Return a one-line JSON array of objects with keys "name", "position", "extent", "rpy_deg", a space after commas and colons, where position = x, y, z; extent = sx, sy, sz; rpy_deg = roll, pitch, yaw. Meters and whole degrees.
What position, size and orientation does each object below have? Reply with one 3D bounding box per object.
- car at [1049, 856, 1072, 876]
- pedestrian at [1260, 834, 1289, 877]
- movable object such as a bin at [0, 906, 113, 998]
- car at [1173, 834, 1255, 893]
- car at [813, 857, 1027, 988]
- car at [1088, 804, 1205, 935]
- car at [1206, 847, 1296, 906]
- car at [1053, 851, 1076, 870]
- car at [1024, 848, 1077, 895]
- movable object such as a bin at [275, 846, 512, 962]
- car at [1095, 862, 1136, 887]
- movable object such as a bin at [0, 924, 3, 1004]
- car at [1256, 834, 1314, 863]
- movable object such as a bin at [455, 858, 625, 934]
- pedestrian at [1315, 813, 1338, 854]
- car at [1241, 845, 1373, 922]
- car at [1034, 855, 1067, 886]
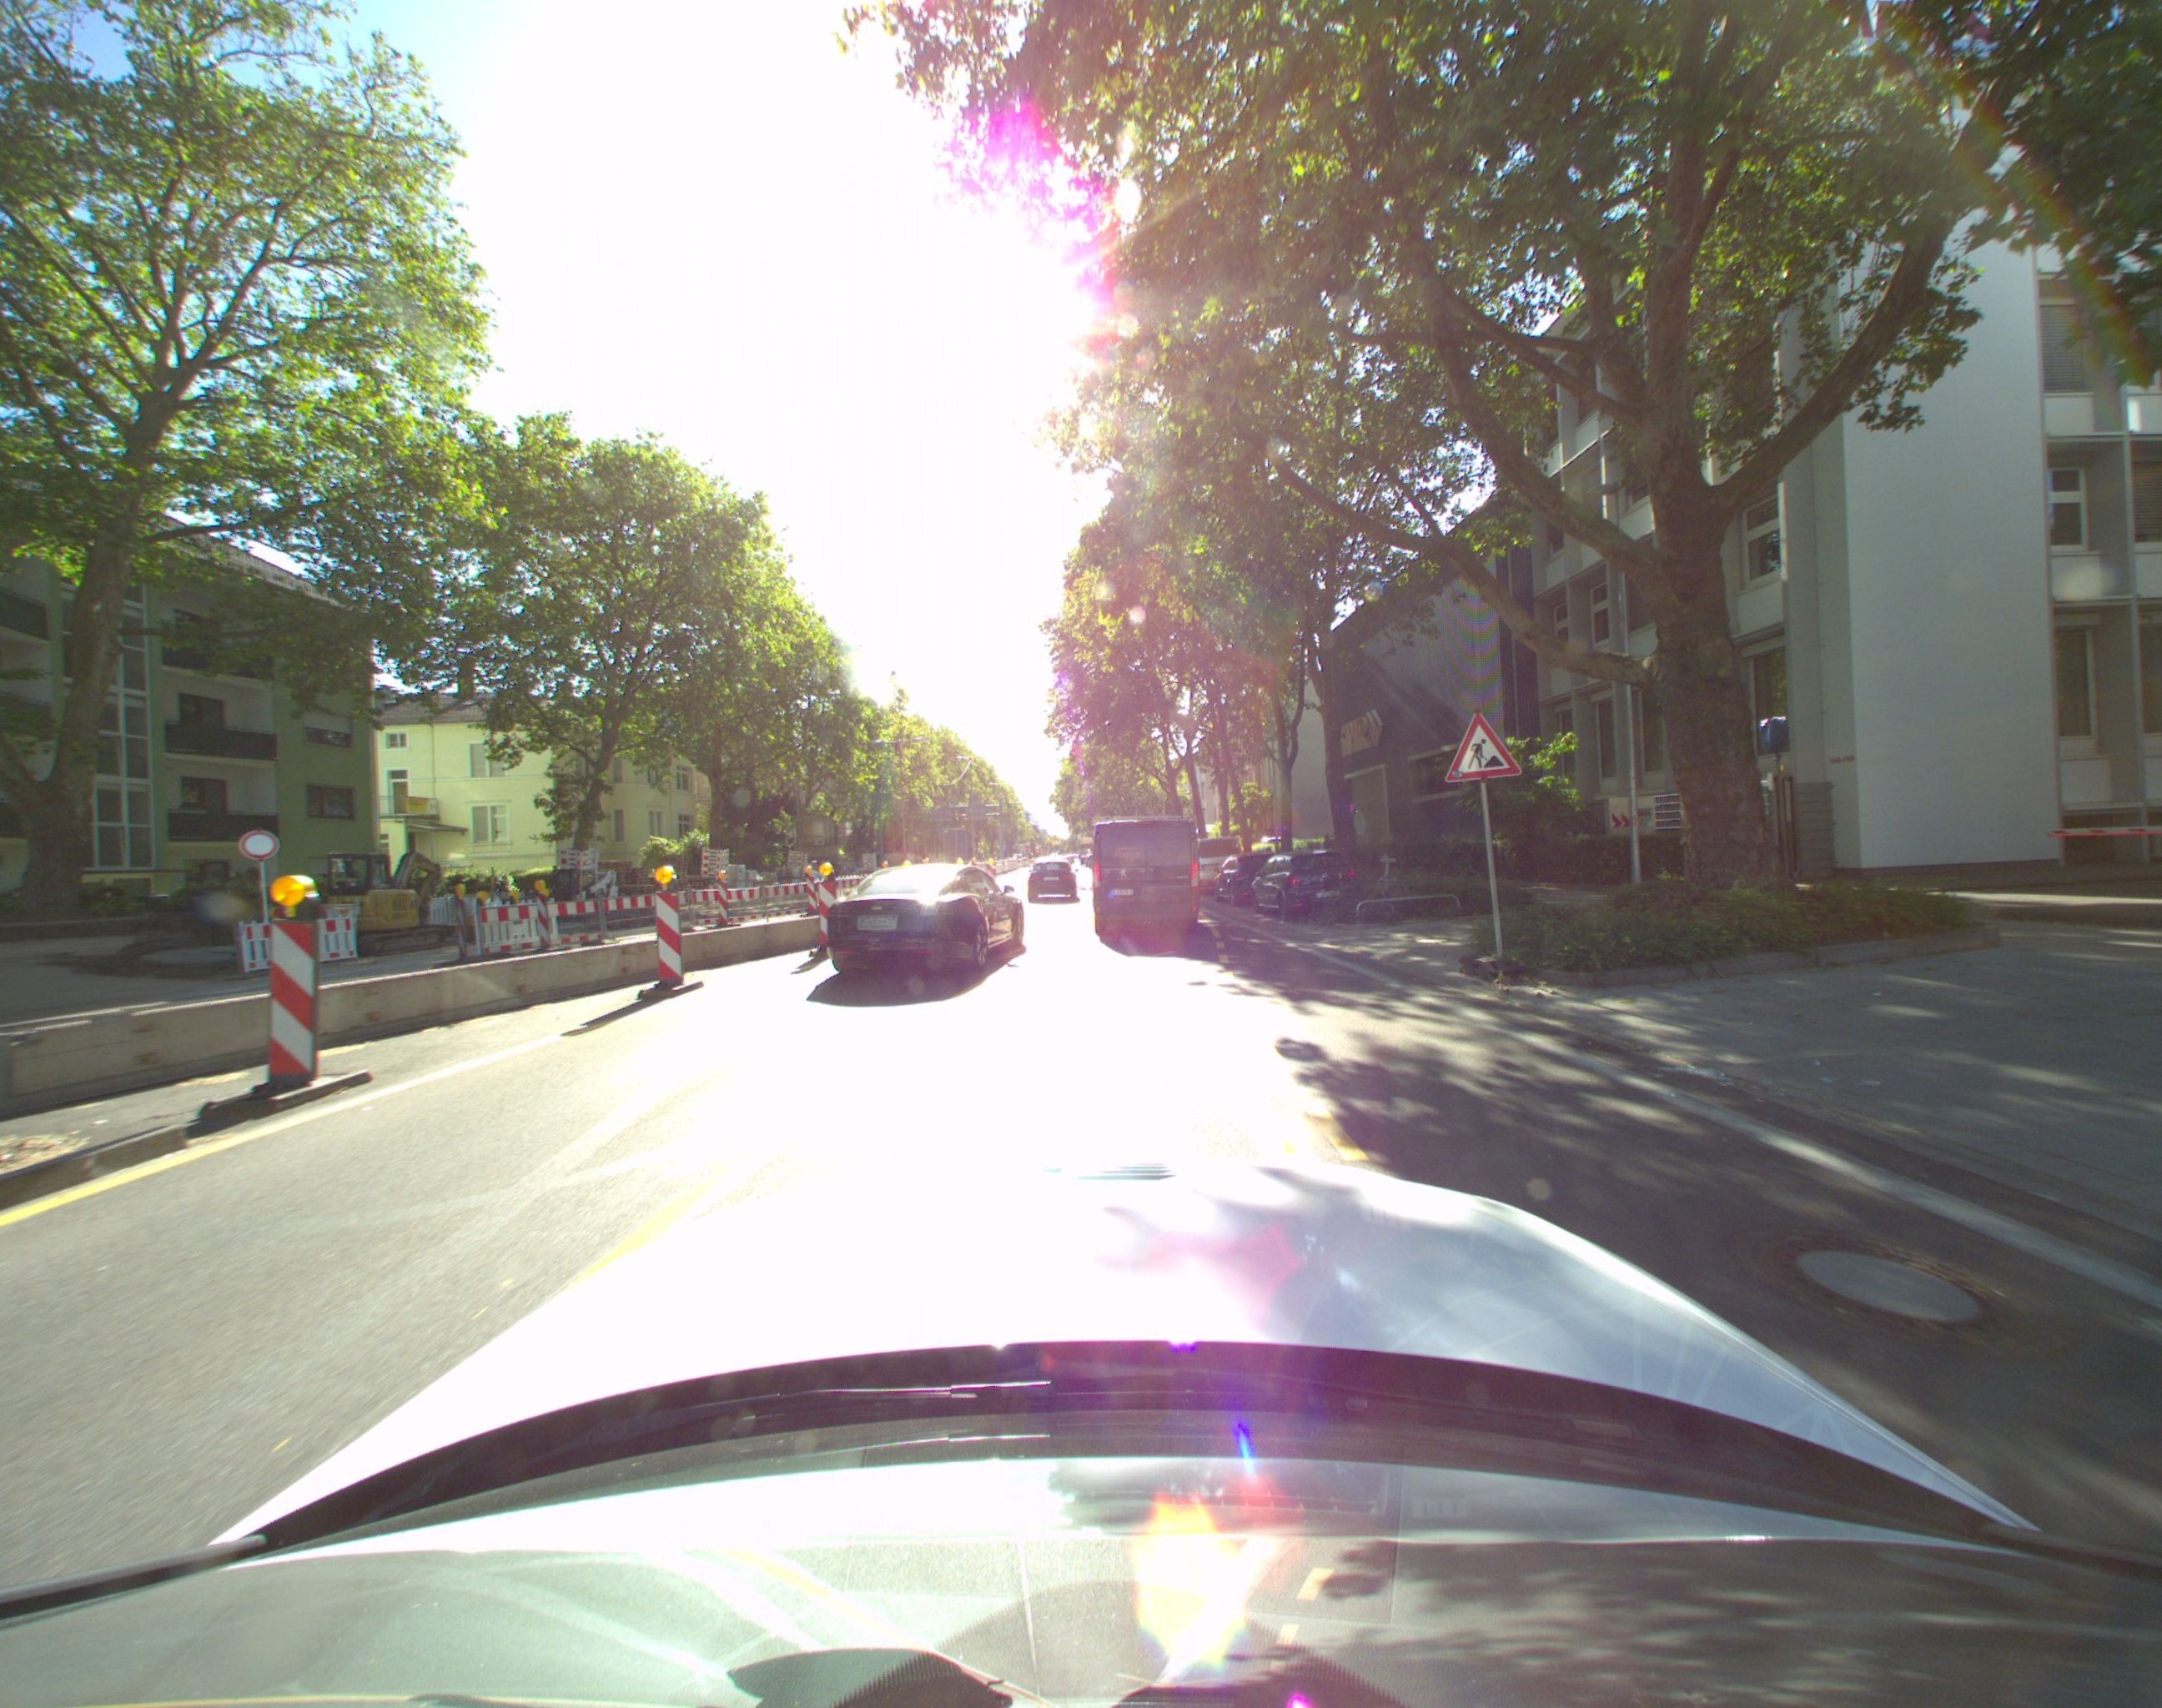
[{"name": "car", "position": [-1.382, 0.786, 54.988], "extent": [1.416, 1.225, 3.437], "rpy_deg": [-2, 0, 0]}, {"name": "pedestrian", "position": [7.597, 0.057, 32.036], "extent": [0.726, 1.602, 1.265], "rpy_deg": [-2, 0, -4]}, {"name": "movable object such as a bin", "position": [-18.233, 1.683, 14.009], "extent": [1.639, 1.423, 1.252], "rpy_deg": [-2, 0, -27]}, {"name": "car", "position": [4.853, 0.318, 30.470], "extent": [2.020, 1.946, 5.270], "rpy_deg": [-2, 0, -2]}, {"name": "car", "position": [-2.129, 0.836, 12.225], "extent": [1.916, 1.411, 4.633], "rpy_deg": [1, 2, 5]}, {"name": "car", "position": [1.224, 0.259, 16.927], "extent": [2.088, 2.355, 3.933], "rpy_deg": [-1, 0, 1]}, {"name": "car", "position": [4.860, 0.603, 23.780], "extent": [1.653, 1.540, 4.126], "rpy_deg": [-1, 0, -1]}, {"name": "car", "position": [-1.501, 0.569, 75.071], "extent": [1.987, 1.588, 4.000], "rpy_deg": [-2, 0, 0]}, {"name": "car", "position": [-1.106, 0.564, 29.006], "extent": [1.742, 1.407, 3.997], "rpy_deg": [-1, 2, -3]}, {"name": "movable object such as a bin", "position": [-18.424, 1.218, 22.299], "extent": [2.142, 2.706, 5.347], "rpy_deg": [-2, 0, -4]}, {"name": "car", "position": [1.934, 1.152, 46.876], "extent": [1.989, 1.249, 3.996], "rpy_deg": [-2, 0, -2]}, {"name": "movable object such as a bin", "position": [-17.682, 1.775, 12.203], "extent": [0.977, 1.271, 1.539], "rpy_deg": [-2, 0, -1]}, {"name": "car", "position": [13.670, -0.341, 54.639], "extent": [1.716, 1.853, 3.470], "rpy_deg": [-1, 0, -34]}, {"name": "movable object such as a bin", "position": [-18.638, 1.344, 28.473], "extent": [1.986, 2.278, 5.600], "rpy_deg": [-3, 0, 1]}, {"name": "pedestrian", "position": [10.198, -0.859, 33.815], "extent": [0.704, 1.648, 0.674], "rpy_deg": [0, 2, -4]}, {"name": "car", "position": [5.038, 0.607, 18.795], "extent": [1.758, 1.508, 4.248], "rpy_deg": [-2, 0, -1]}, {"name": "car", "position": [-1.476, 0.800, 40.186], "extent": [1.543, 1.425, 3.552], "rpy_deg": [-2, 0, -2]}]
